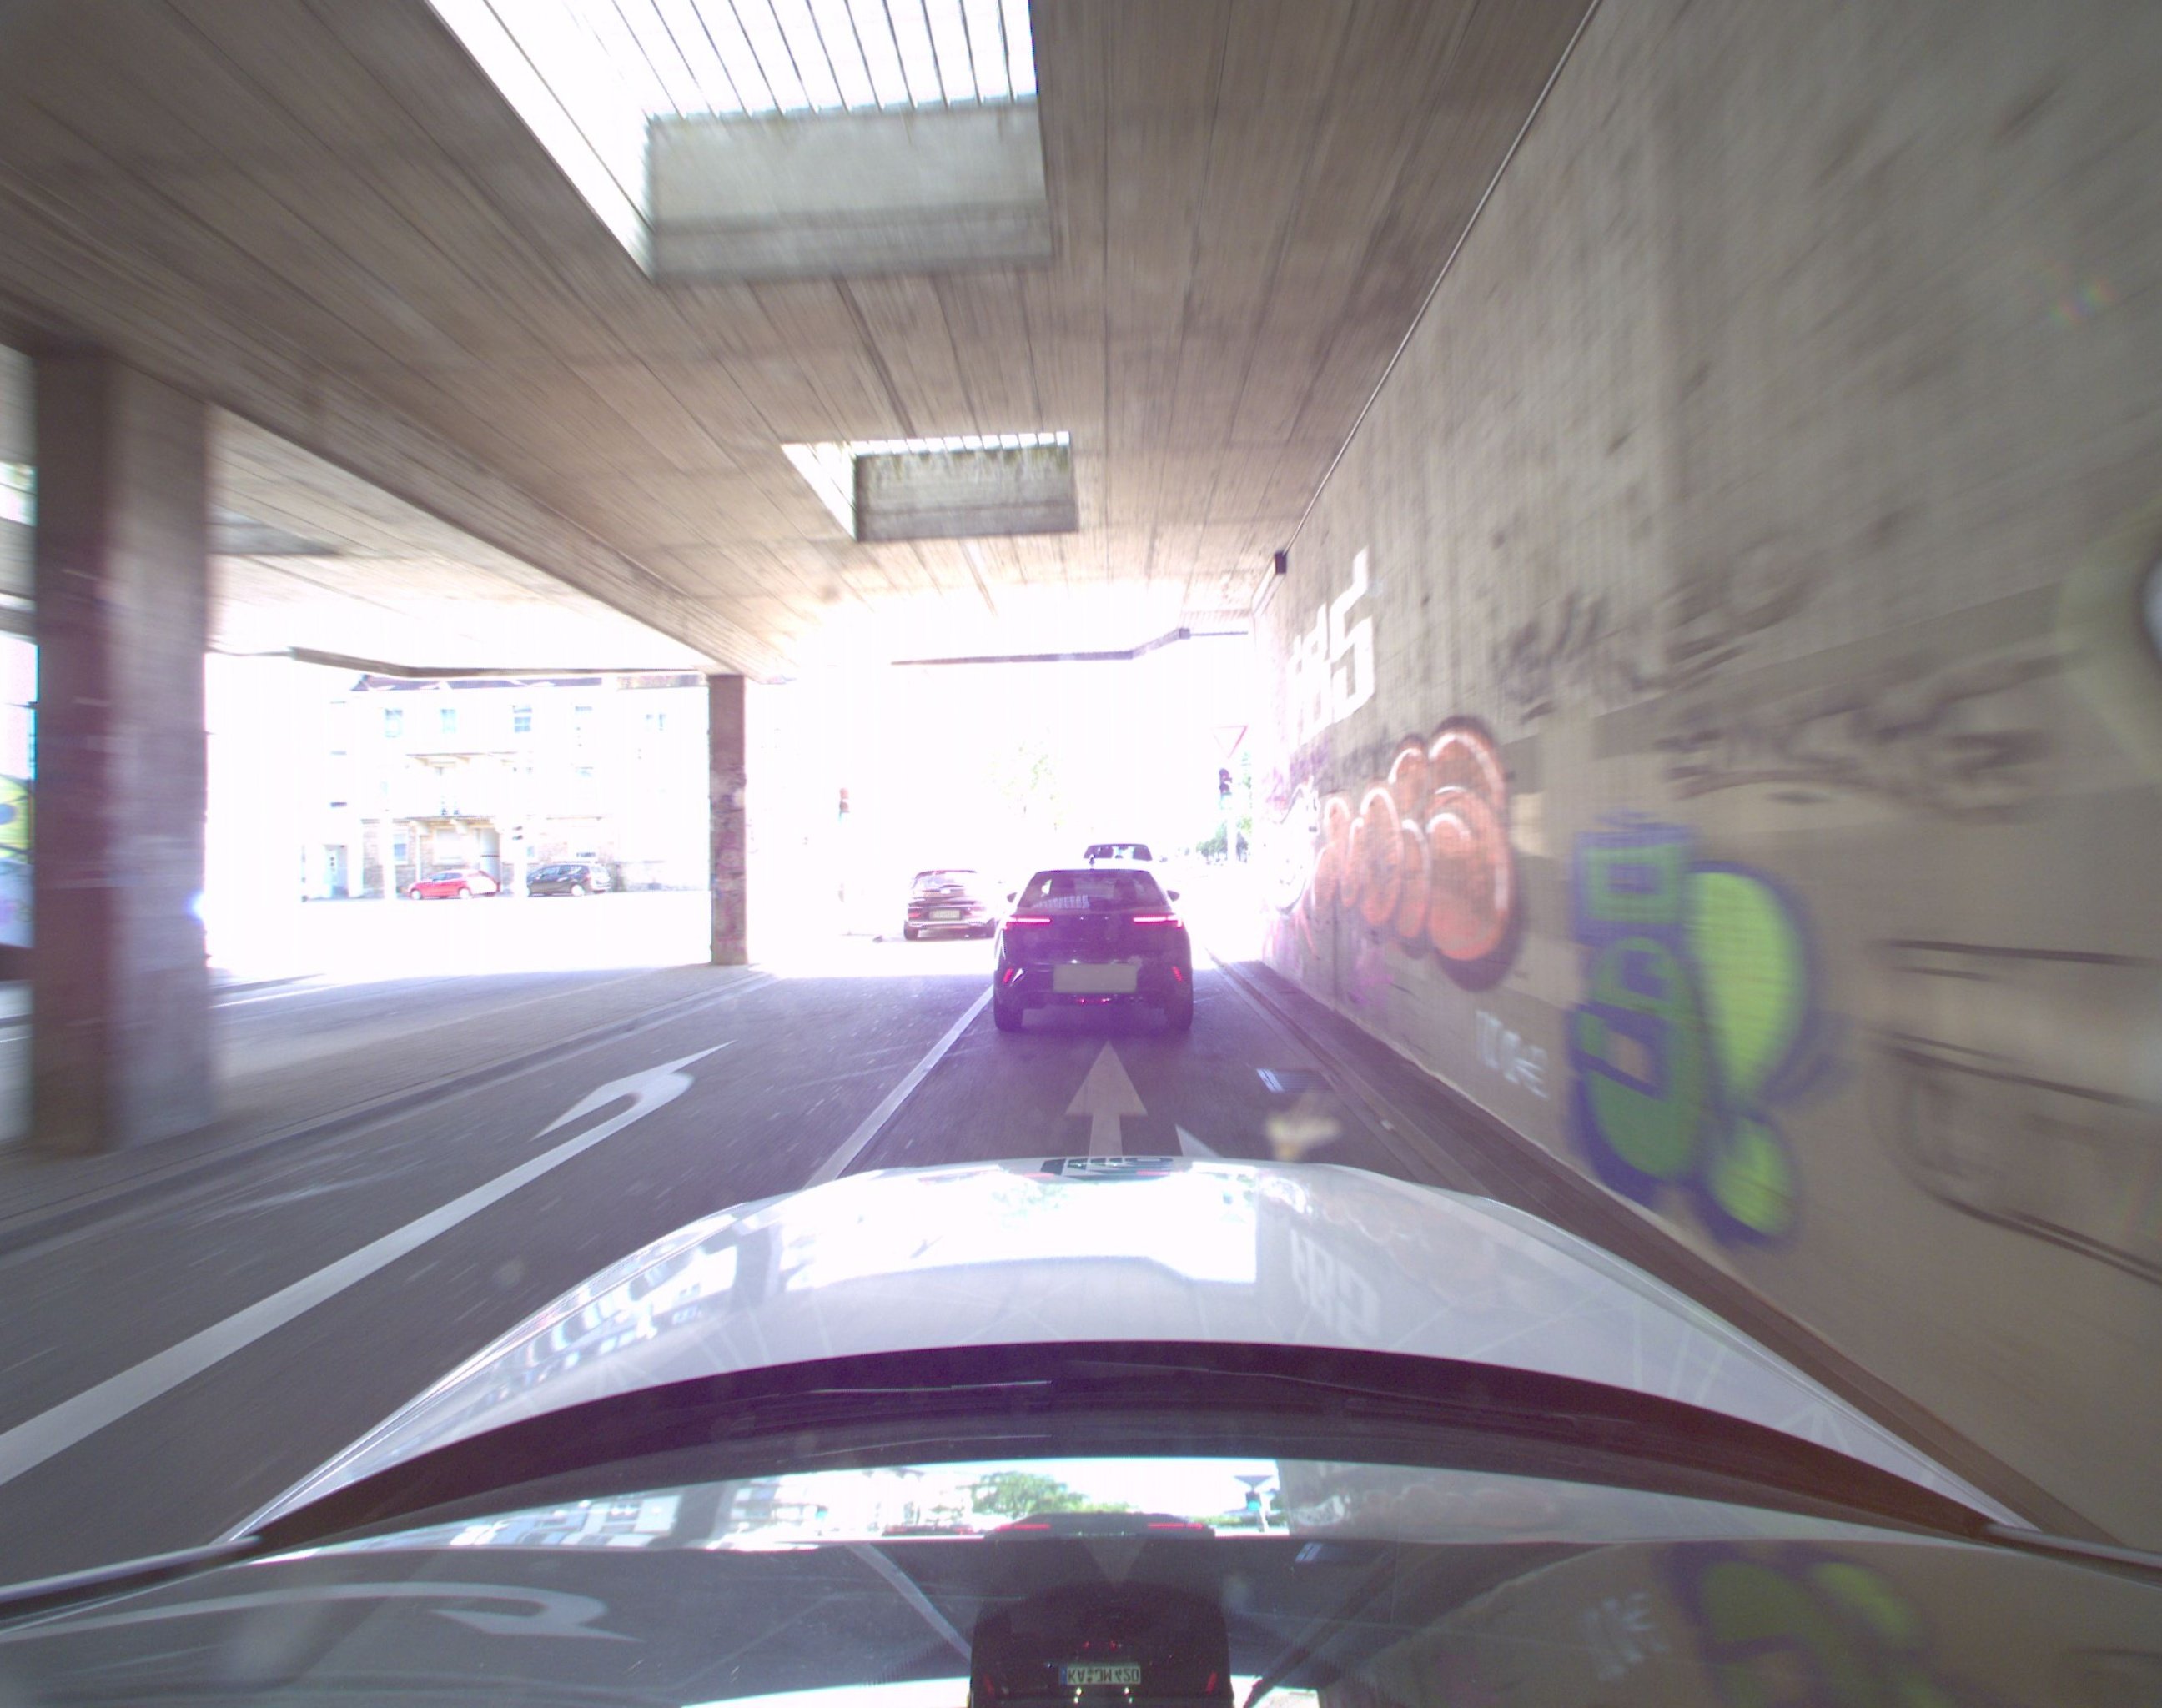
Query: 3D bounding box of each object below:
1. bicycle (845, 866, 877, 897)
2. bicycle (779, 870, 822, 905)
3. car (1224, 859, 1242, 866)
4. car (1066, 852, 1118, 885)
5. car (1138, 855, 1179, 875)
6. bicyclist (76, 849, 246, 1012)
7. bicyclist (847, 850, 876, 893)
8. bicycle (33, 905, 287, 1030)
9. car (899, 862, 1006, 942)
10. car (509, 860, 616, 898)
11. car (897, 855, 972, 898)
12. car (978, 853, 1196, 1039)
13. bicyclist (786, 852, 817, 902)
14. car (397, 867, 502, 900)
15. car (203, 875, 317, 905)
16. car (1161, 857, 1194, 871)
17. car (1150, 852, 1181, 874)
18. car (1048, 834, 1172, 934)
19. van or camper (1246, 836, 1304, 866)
[{"bbox_3d":[-8.628,1.054,32.057,0.539,1.123,2.061,-1,0,4],"label":"bicycle"},{"bbox_3d":[-9.330,1.097,27.165,0.522,1.090,1.864,-1,0,8],"label":"bicycle"},{"bbox_3d":[35.043,1.999,188.265,3.929,1.397,1.518,-4,-1,4],"label":"car"},{"bbox_3d":[0.609,0.704,41.111,1.775,1.513,4.131,-1,0,13],"label":"car"},{"bbox_3d":[10.608,1.531,111.441,5.265,2.546,1.977,-1,-1,-12],"label":"car"},{"bbox_3d":[-10.385,0.823,9.241,0.743,1.711,0.967,-1,1,1],"label":"bicyclist"},{"bbox_3d":[-8.632,0.679,32.112,0.778,1.660,1.032,-1,0,3],"label":"bicyclist"},{"bbox_3d":[-10.363,1.225,9.292,0.695,1.090,1.861,-1,2,2],"label":"bicycle"},{"bbox_3d":[-2.579,0.901,17.262,1.797,1.451,4.321,0,0,-3],"label":"car"},{"bbox_3d":[-26.327,1.260,41.407,4.142,1.724,1.964,-1,1,3],"label":"car"},{"bbox_3d":[-5.328,0.797,30.047,1.648,1.441,3.472,-1,0,9],"label":"car"},{"bbox_3d":[0.142,0.766,8.553,1.774,1.517,3.758,-1,0,3],"label":"car"},{"bbox_3d":[-9.317,0.752,27.168,0.602,1.632,0.912,-1,0,8],"label":"bicyclist"},{"bbox_3d":[-32.132,1.487,41.487,3.862,1.540,1.901,-1,1,3],"label":"car"},{"bbox_3d":[-41.852,1.811,41.580,3.812,1.363,2.002,-1,1,4],"label":"car"},{"bbox_3d":[15.269,1.624,128.944,4.903,2.083,1.971,-1,-1,-22],"label":"car"},{"bbox_3d":[6.463,0.677,61.784,1.692,1.512,3.878,-3,-1,15],"label":"car"},{"bbox_3d":[0.802,0.579,17.664,2.121,1.835,4.951,-1,0,8],"label":"car"},{"bbox_3d":[21.651,-0.287,91.193,6.038,2.929,2.584,-4,-2,12],"label":"van or camper"}]
